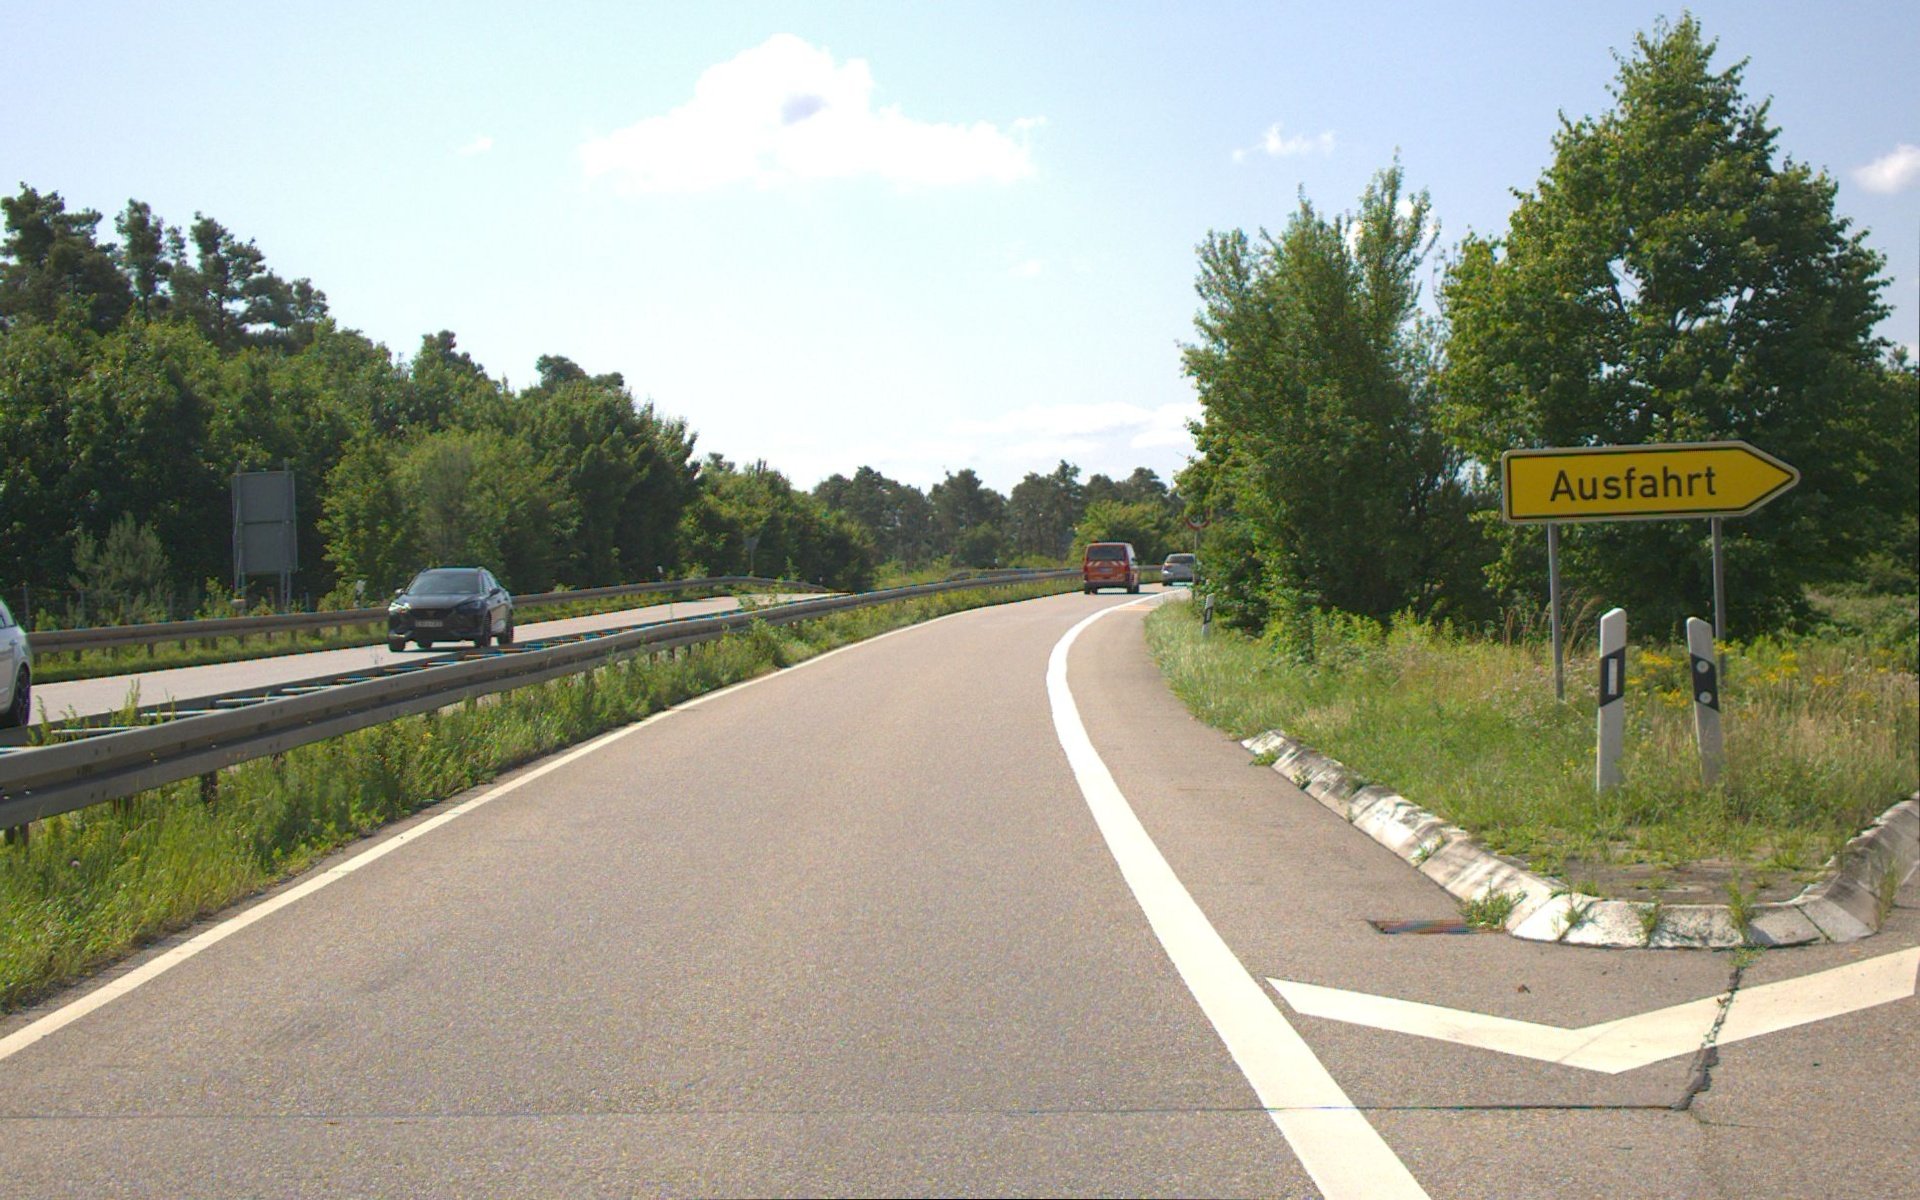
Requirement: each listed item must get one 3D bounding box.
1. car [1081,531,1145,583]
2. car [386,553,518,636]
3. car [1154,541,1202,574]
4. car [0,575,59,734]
[{"bbox_3d":[5.921,-1.635,132.395,2.078,1.986,5.110,0,0,7],"label":"car"},{"bbox_3d":[-9.502,-0.133,64.597,1.755,1.495,4.574,0,1,1],"label":"car"},{"bbox_3d":[10.005,-1.929,157.443,2.008,1.489,4.237,0,0,7],"label":"car"},{"bbox_3d":[-9.647,0.512,31.127,1.794,1.439,4.607,0,1,-1],"label":"car"}]
